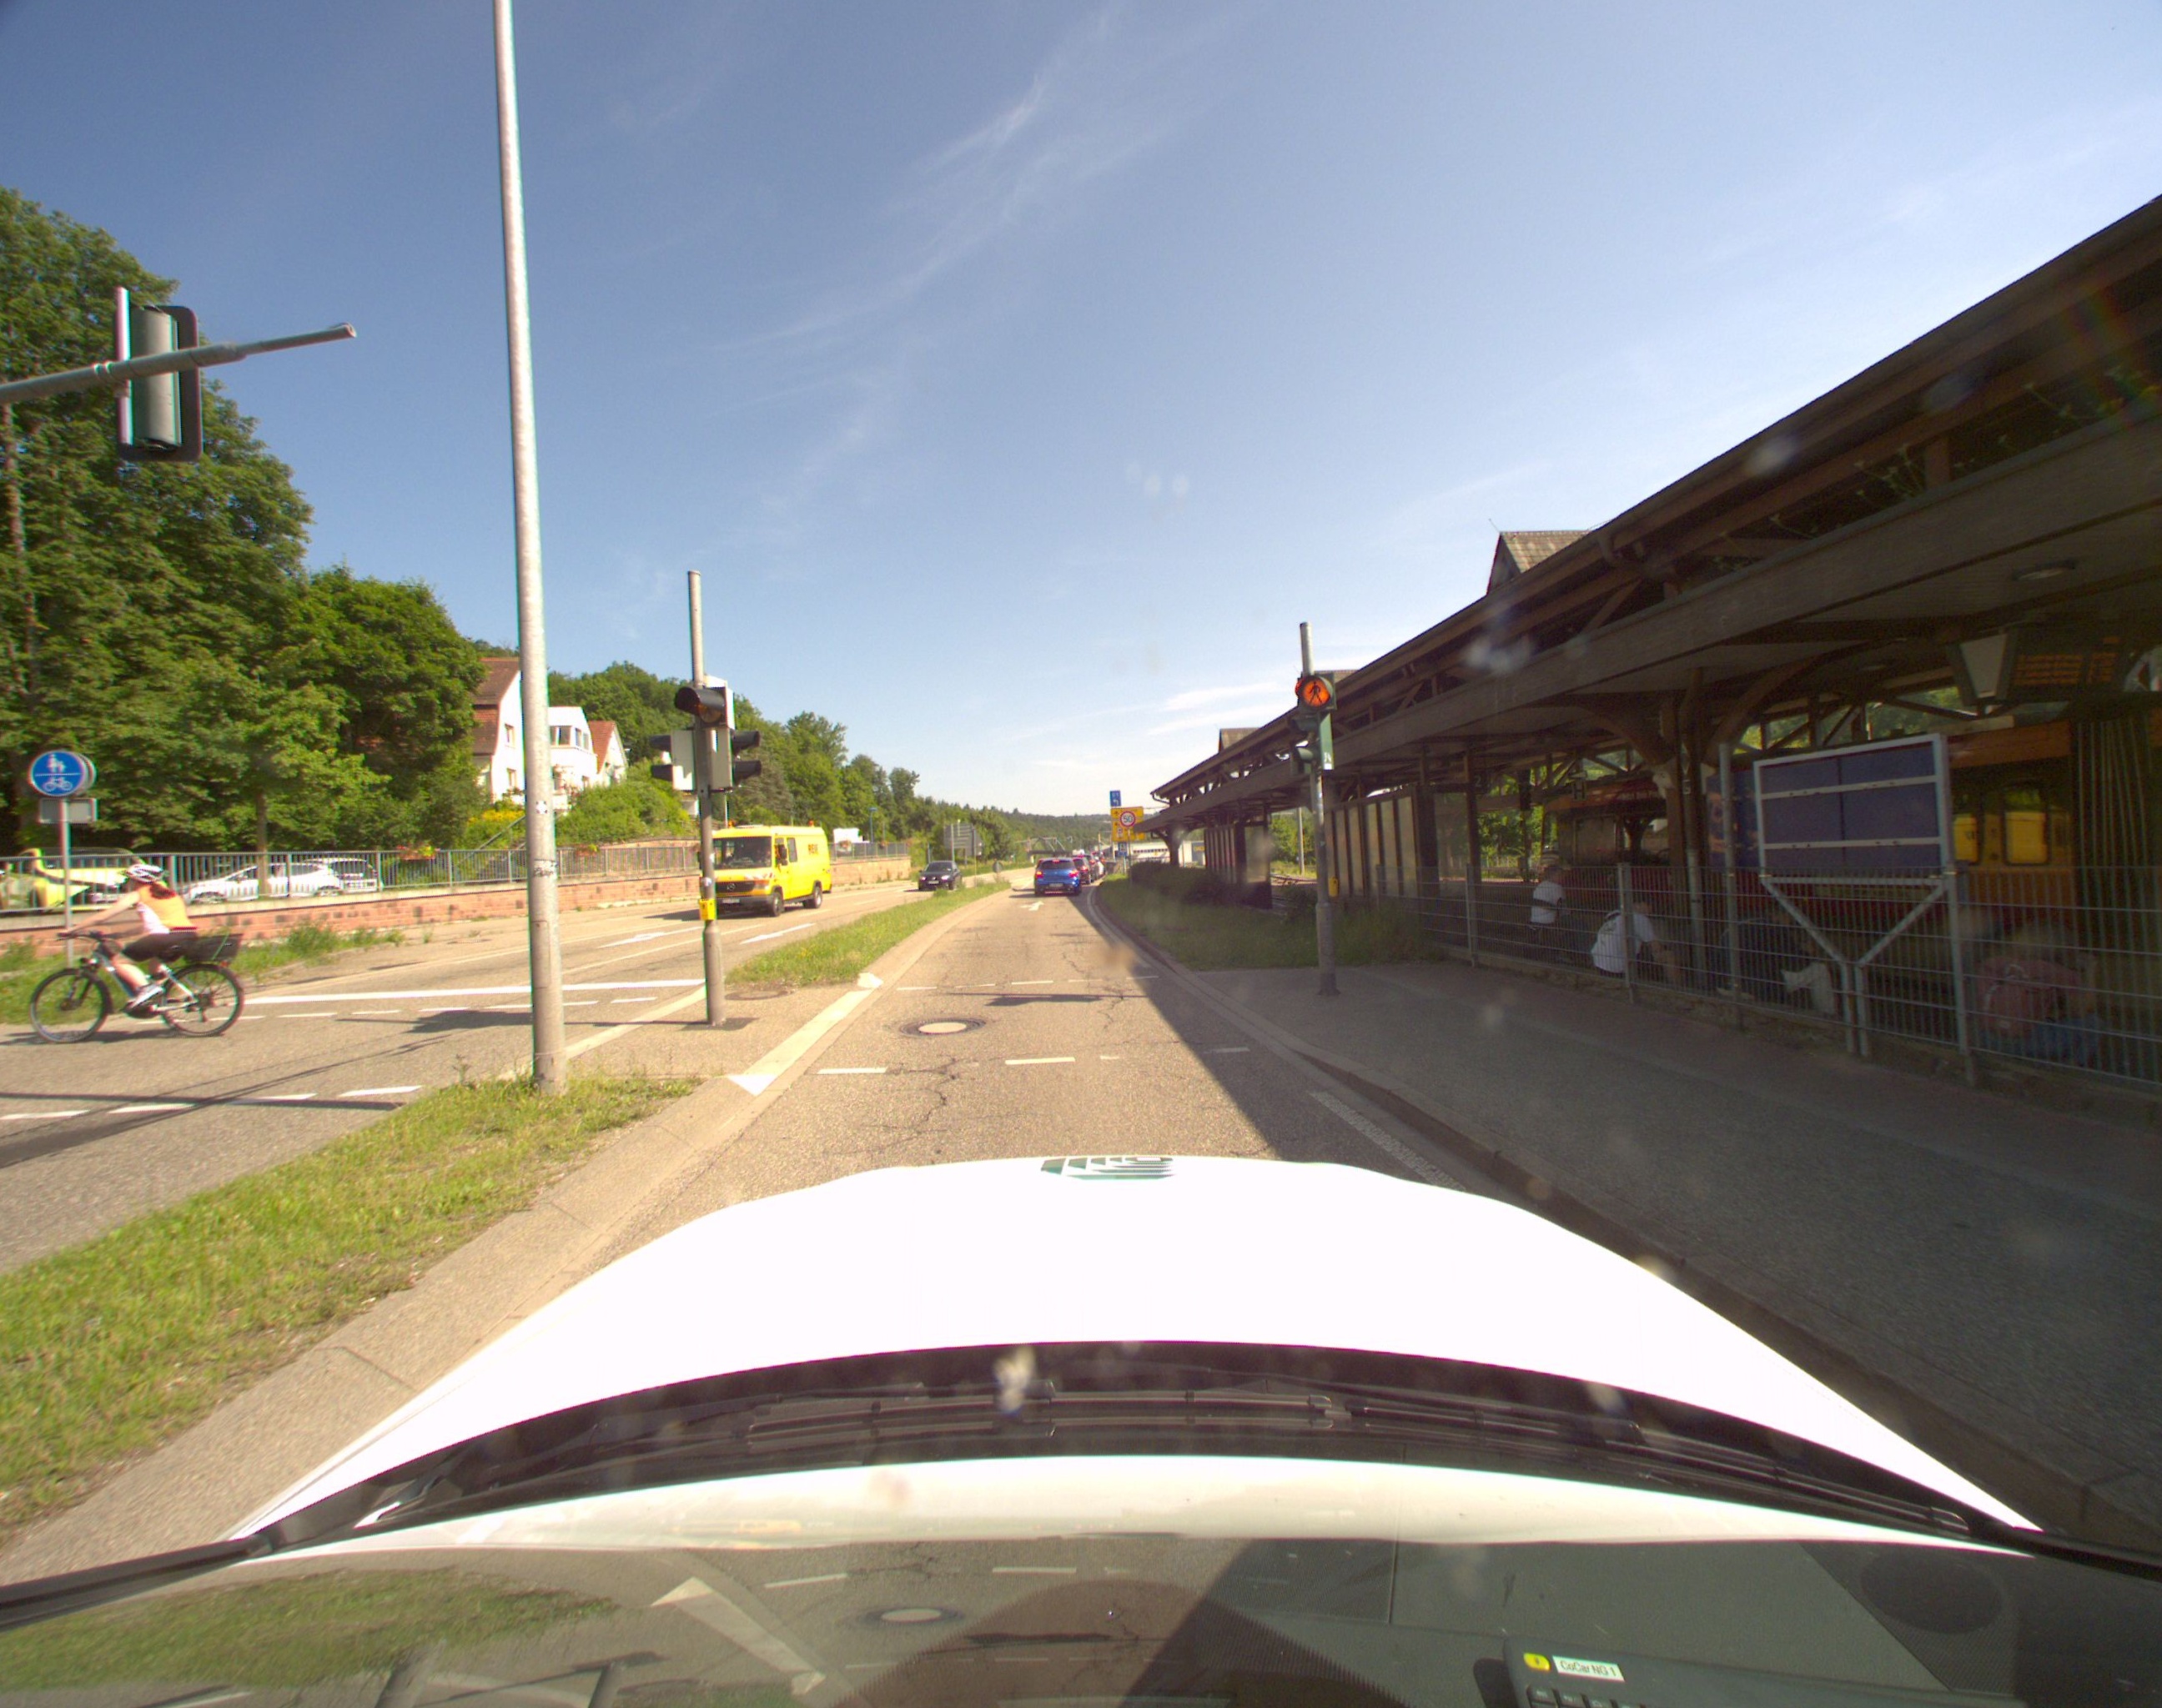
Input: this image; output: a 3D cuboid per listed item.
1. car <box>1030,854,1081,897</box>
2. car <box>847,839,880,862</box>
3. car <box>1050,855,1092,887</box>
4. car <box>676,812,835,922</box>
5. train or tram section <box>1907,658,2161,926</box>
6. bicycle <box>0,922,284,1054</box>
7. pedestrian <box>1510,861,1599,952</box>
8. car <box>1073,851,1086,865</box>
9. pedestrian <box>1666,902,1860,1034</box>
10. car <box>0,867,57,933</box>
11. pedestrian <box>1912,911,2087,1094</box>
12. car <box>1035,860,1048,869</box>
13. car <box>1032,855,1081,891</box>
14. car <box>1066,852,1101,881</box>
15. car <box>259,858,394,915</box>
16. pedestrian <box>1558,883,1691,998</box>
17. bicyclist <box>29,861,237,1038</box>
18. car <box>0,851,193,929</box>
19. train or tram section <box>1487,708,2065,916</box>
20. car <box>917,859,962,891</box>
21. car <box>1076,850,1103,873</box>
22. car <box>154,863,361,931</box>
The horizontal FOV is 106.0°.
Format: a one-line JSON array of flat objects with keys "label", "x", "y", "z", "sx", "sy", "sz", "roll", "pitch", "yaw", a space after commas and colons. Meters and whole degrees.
[{"label": "car", "x": -0.967, "y": 0.820, "z": 32.503, "sx": 1.863, "sy": 1.548, "sz": 3.999, "roll": -2, "pitch": 0, "yaw": -1}, {"label": "car", "x": -18.926, "y": -0.296, "z": 71.034, "sx": 2.018, "sy": 1.920, "sz": 4.721, "roll": 0, "pitch": 1, "yaw": -7}, {"label": "car", "x": -0.480, "y": 0.863, "z": 43.442, "sx": 1.986, "sy": 1.531, "sz": 4.603, "roll": -3, "pitch": 0, "yaw": 2}, {"label": "car", "x": -10.044, "y": 0.389, "z": 25.915, "sx": 2.460, "sy": 3.011, "sz": 6.463, "roll": -1, "pitch": -1, "yaw": -1}, {"label": "train or tram section", "x": 15.223, "y": -0.835, "z": 7.291, "sx": 2.781, "sy": 3.364, "sz": 12.028, "roll": -1, "pitch": -1, "yaw": -4}, {"label": "bicycle", "x": -9.197, "y": 1.272, "z": 7.940, "sx": 1.963, "sy": 1.064, "sz": 0.734, "roll": -2, "pitch": 1, "yaw": -5}, {"label": "pedestrian", "x": 6.094, "y": 0.659, "z": 10.508, "sx": 0.741, "sy": 1.116, "sz": 0.665, "roll": 0, "pitch": 1, "yaw": -8}, {"label": "car", "x": -0.282, "y": 0.619, "z": 130.387, "sx": 1.987, "sy": 2.144, "sz": 4.719, "roll": -1, "pitch": 0, "yaw": 0}, {"label": "pedestrian", "x": 5.237, "y": 0.845, "z": 6.305, "sx": 0.844, "sy": 0.874, "sz": 0.806, "roll": 0, "pitch": 1, "yaw": -8}, {"label": "car", "x": -30.599, "y": 1.262, "z": 22.489, "sx": 3.951, "sy": 1.700, "sz": 1.925, "roll": 0, "pitch": 1, "yaw": 24}, {"label": "pedestrian", "x": 5.310, "y": 0.834, "z": 4.724, "sx": 0.616, "sy": 0.966, "sz": 0.405, "roll": 0, "pitch": 1, "yaw": -8}, {"label": "car", "x": -6.960, "y": 1.749, "z": 142.969, "sx": 1.784, "sy": 1.470, "sz": 4.720, "roll": -2, "pitch": 0, "yaw": 3}, {"label": "car", "x": -1.087, "y": 0.861, "z": 38.173, "sx": 1.986, "sy": 1.571, "sz": 4.001, "roll": -1, "pitch": -1, "yaw": 2}, {"label": "car", "x": 0.226, "y": 0.741, "z": 49.531, "sx": 1.986, "sy": 1.686, "sz": 4.499, "roll": 0, "pitch": 0, "yaw": 2}, {"label": "car", "x": -27.079, "y": 1.113, "z": 29.244, "sx": 3.953, "sy": 1.875, "sz": 1.924, "roll": 0, "pitch": 1, "yaw": 20}, {"label": "pedestrian", "x": 5.164, "y": 0.796, "z": 7.779, "sx": 0.741, "sy": 0.982, "sz": 0.767, "roll": 0, "pitch": 1, "yaw": -8}, {"label": "bicyclist", "x": -9.230, "y": 0.890, "z": 7.979, "sx": 0.952, "sy": 1.564, "sz": 0.806, "roll": -3, "pitch": 1, "yaw": -5}, {"label": "car", "x": -20.074, "y": 0.650, "z": 16.441, "sx": 3.950, "sy": 1.381, "sz": 1.925, "roll": 0, "pitch": 1, "yaw": 27}, {"label": "train or tram section", "x": 14.352, "y": -0.707, "z": 19.272, "sx": 2.751, "sy": 3.364, "sz": 12.029, "roll": -1, "pitch": 0, "yaw": -4}, {"label": "car", "x": -7.165, "y": 1.032, "z": 41.511, "sx": 1.742, "sy": 1.462, "sz": 4.038, "roll": -3, "pitch": 0, "yaw": -3}, {"label": "car", "x": 0.711, "y": 0.588, "z": 63.488, "sx": 1.986, "sy": 1.736, "sz": 4.002, "roll": 0, "pitch": 0, "yaw": 2}, {"label": "car", "x": -24.970, "y": 1.251, "z": 24.845, "sx": 1.897, "sy": 1.789, "sz": 4.024, "roll": -2, "pitch": 0, "yaw": 28}]
